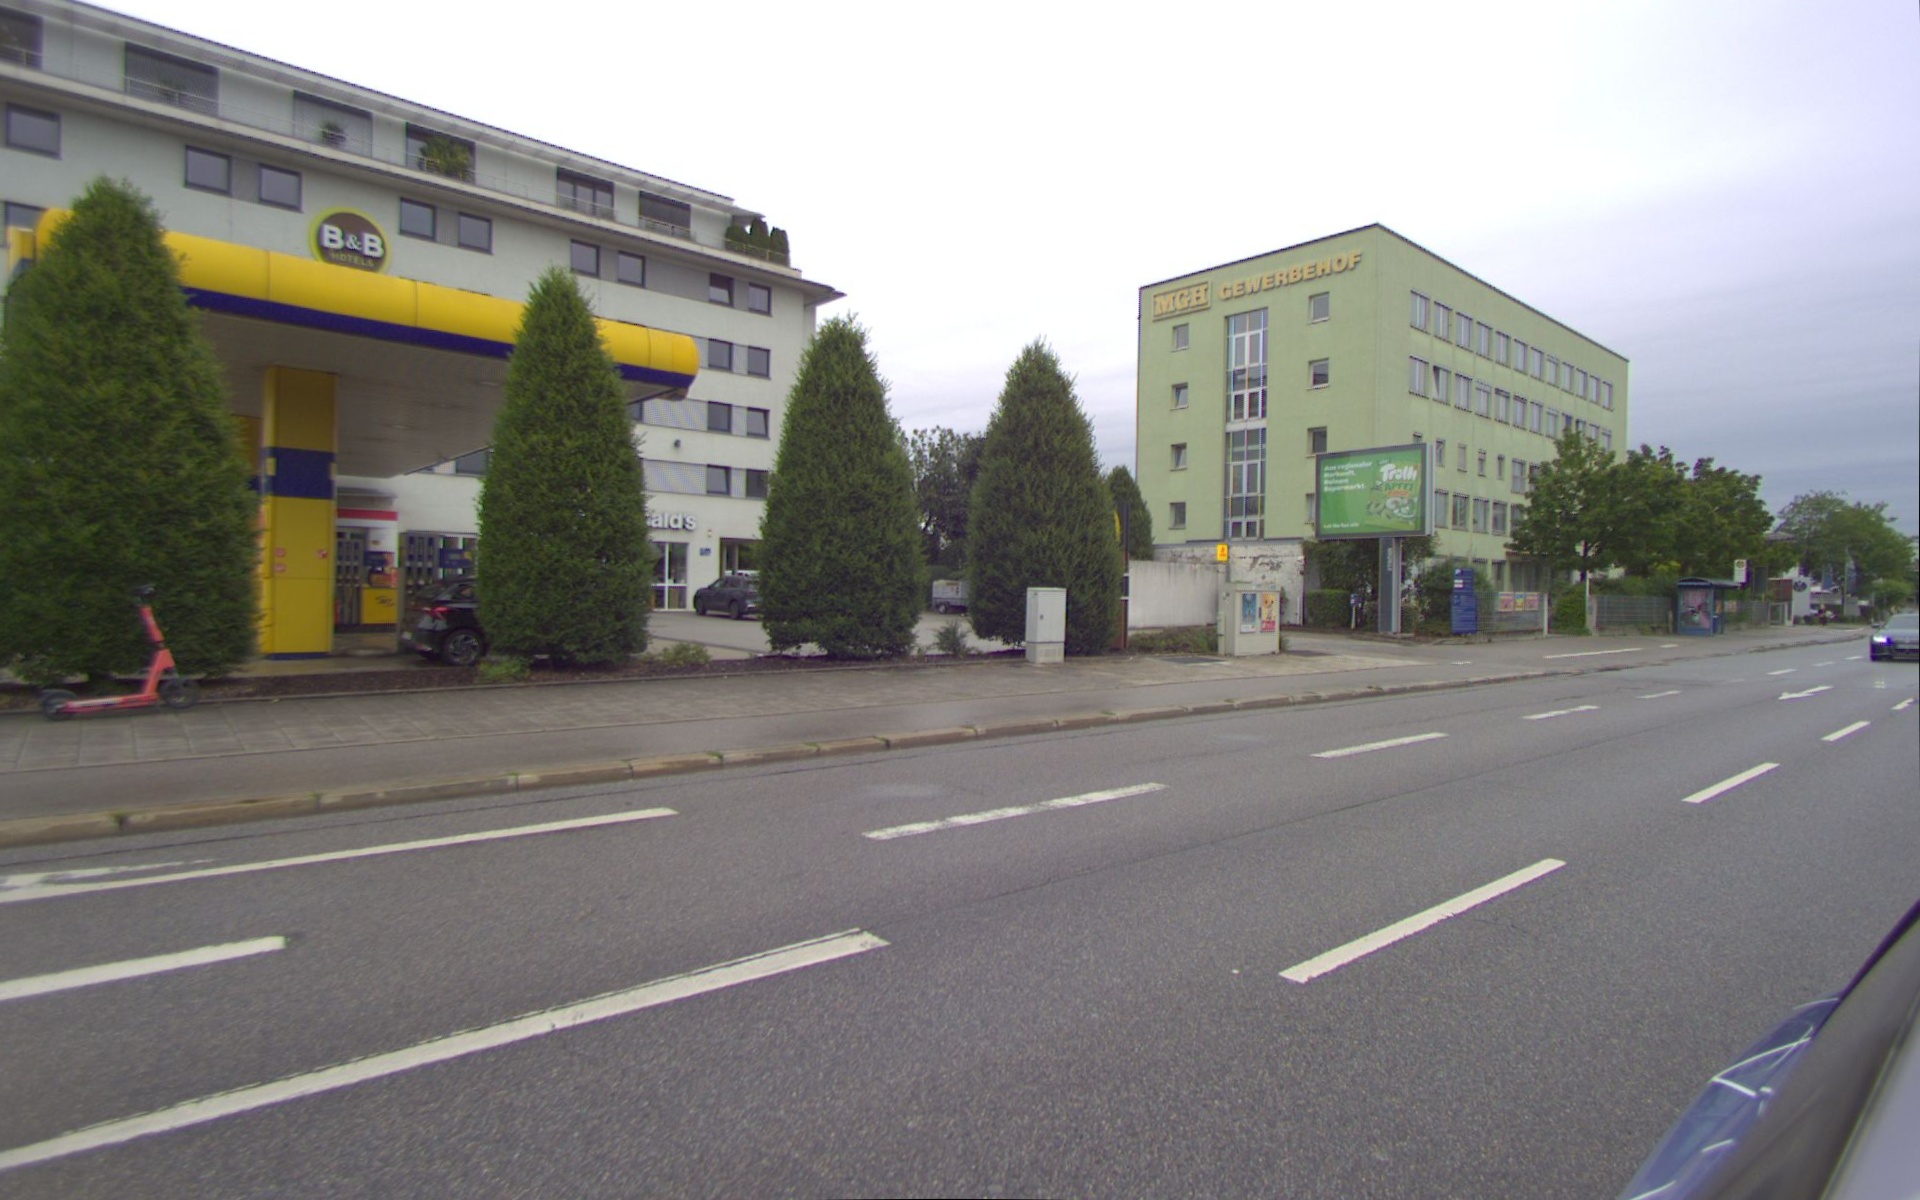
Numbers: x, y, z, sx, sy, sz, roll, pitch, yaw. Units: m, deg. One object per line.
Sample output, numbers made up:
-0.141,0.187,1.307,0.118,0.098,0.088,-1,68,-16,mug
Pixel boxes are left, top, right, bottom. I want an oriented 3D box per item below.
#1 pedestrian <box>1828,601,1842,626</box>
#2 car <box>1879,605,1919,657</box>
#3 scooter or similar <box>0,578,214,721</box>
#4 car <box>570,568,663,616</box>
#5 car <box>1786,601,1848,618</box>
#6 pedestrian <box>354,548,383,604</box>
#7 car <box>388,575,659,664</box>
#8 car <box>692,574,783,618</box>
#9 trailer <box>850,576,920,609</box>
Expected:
64.467,0.982,74.566,0.676,1.844,0.682,1,-1,-42,pedestrian
29.976,0.921,31.229,4.361,1.526,1.914,0,0,-41,car
-8.018,0.440,9.583,1.516,1.258,0.357,0,3,-37,scooter or similar
-12.169,-0.298,35.751,1.677,1.607,3.992,1,1,-42,car
78.395,0.888,92.624,1.763,1.528,4.008,0,0,-20,car
-18.755,-0.757,32.113,0.633,1.751,0.707,1,-1,-45,pedestrian
-7.435,0.303,17.447,3.932,1.349,1.796,0,0,-43,car
-8.686,-0.192,39.325,1.677,1.607,3.992,1,1,-42,car
-3.891,-0.366,51.956,1.607,1.671,3.802,1,0,-42,trailer
